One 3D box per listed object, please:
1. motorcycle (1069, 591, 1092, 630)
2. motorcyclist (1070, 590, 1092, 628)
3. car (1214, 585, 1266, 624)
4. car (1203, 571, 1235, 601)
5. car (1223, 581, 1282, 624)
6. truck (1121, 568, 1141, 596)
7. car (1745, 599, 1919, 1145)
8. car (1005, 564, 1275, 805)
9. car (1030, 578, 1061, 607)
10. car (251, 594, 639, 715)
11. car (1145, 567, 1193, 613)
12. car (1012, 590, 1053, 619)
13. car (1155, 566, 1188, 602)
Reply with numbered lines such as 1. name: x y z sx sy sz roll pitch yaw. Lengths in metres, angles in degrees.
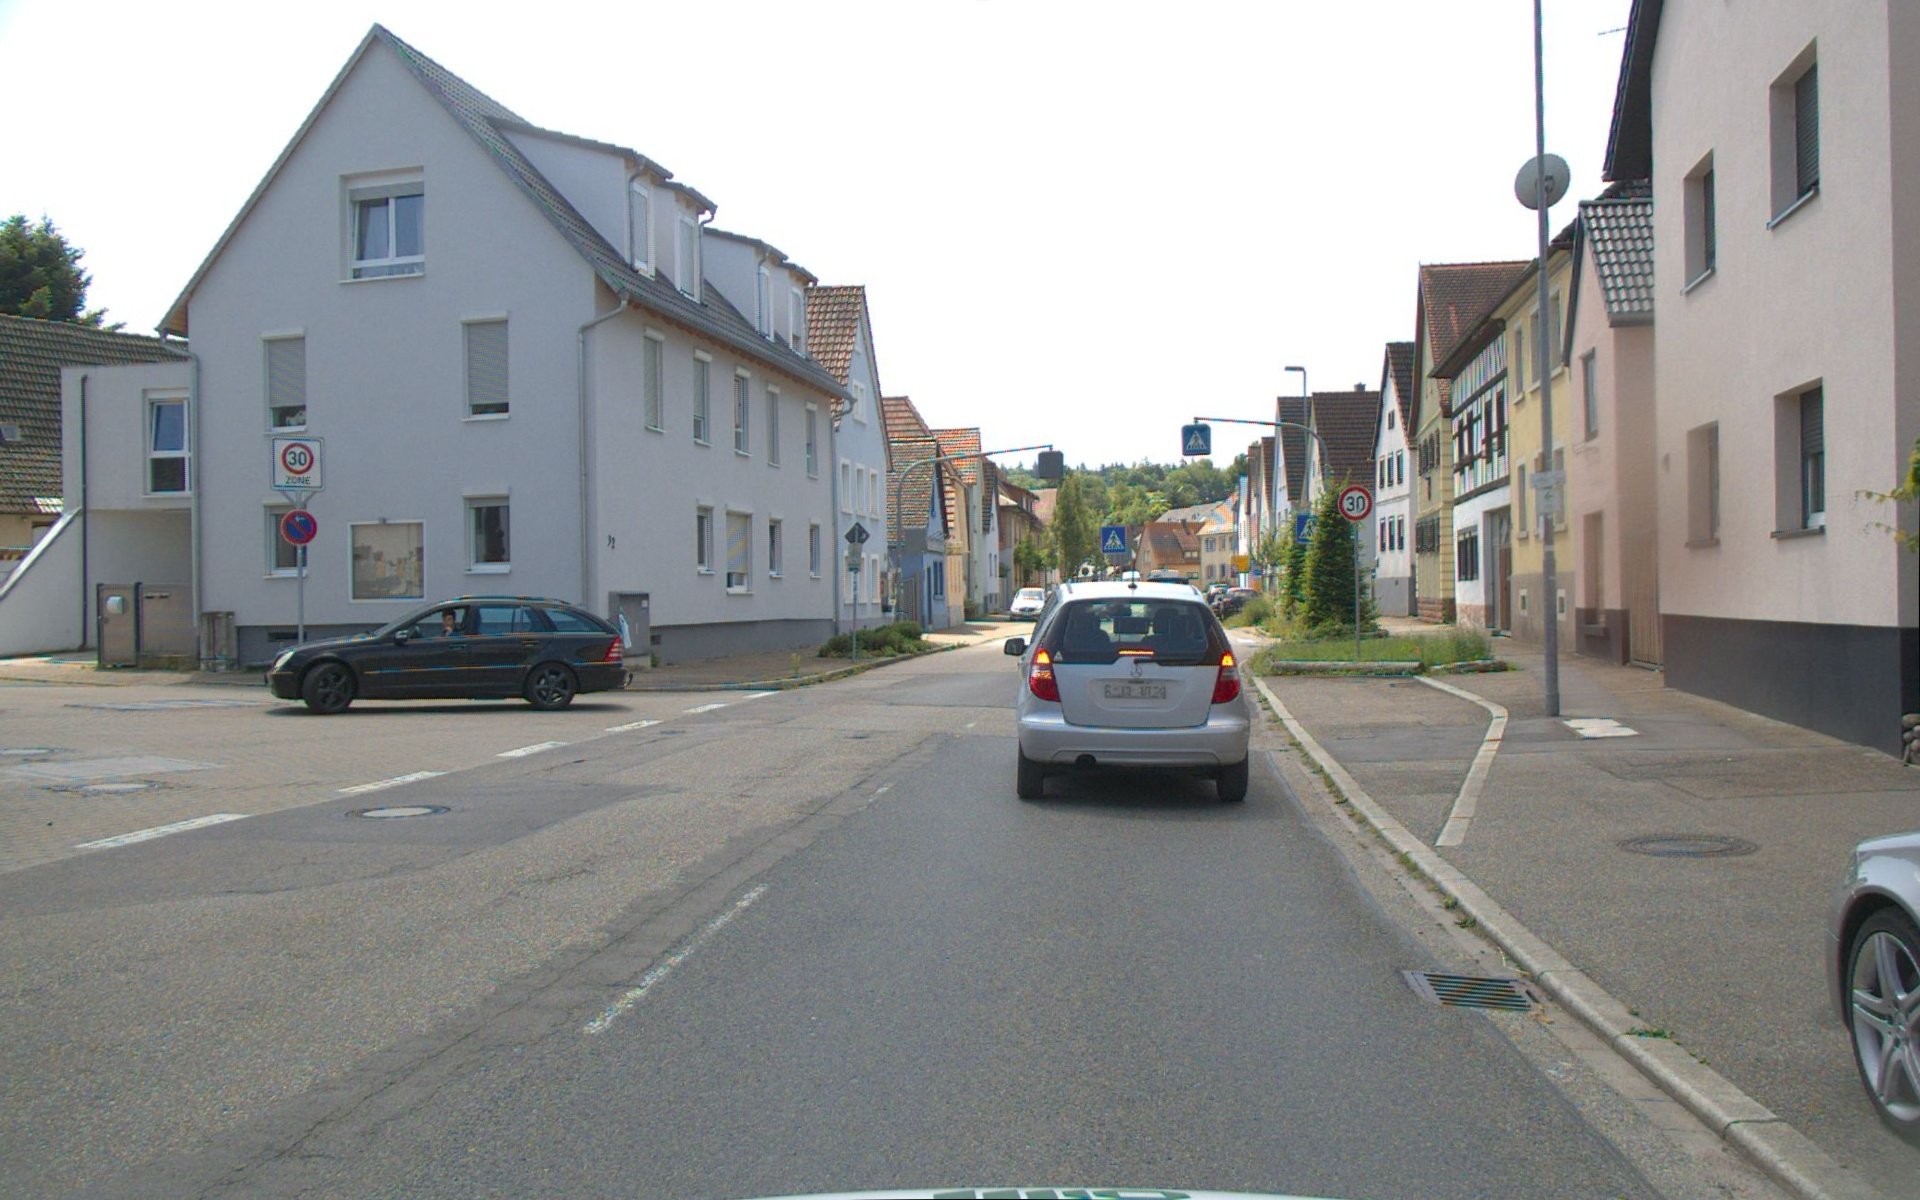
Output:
1. motorcycle: 5.074 0.430 69.620 0.861 1.588 1.969 0 1 6
2. motorcyclist: 5.080 0.378 69.572 0.877 1.582 0.807 0 0 7
3. car: 11.703 0.199 69.429 1.951 1.534 4.002 0 -2 7
4. car: 17.623 -0.938 112.732 1.951 1.848 4.002 0 -2 6
5. car: 10.996 0.113 62.385 1.951 1.534 4.002 0 -2 7
6. truck: 17.019 -1.738 164.778 1.951 2.581 6.743 0 -2 6
7. car: 3.266 0.645 3.010 1.733 1.424 4.426 -3 -1 4
8. car: 1.328 0.604 13.582 1.773 1.672 3.729 1 0 0
9. car: 5.194 -0.462 99.802 1.631 1.624 4.002 0 -2 7
10. car: -6.545 0.692 21.277 4.551 1.436 1.804 1 -2 -19
11. car: 8.899 -0.393 70.642 1.951 1.848 4.002 0 -2 6
12. car: 3.536 0.218 81.243 1.952 1.344 3.709 0 -2 2
13. car: 12.861 -0.949 100.789 1.951 2.049 4.002 0 -2 6
